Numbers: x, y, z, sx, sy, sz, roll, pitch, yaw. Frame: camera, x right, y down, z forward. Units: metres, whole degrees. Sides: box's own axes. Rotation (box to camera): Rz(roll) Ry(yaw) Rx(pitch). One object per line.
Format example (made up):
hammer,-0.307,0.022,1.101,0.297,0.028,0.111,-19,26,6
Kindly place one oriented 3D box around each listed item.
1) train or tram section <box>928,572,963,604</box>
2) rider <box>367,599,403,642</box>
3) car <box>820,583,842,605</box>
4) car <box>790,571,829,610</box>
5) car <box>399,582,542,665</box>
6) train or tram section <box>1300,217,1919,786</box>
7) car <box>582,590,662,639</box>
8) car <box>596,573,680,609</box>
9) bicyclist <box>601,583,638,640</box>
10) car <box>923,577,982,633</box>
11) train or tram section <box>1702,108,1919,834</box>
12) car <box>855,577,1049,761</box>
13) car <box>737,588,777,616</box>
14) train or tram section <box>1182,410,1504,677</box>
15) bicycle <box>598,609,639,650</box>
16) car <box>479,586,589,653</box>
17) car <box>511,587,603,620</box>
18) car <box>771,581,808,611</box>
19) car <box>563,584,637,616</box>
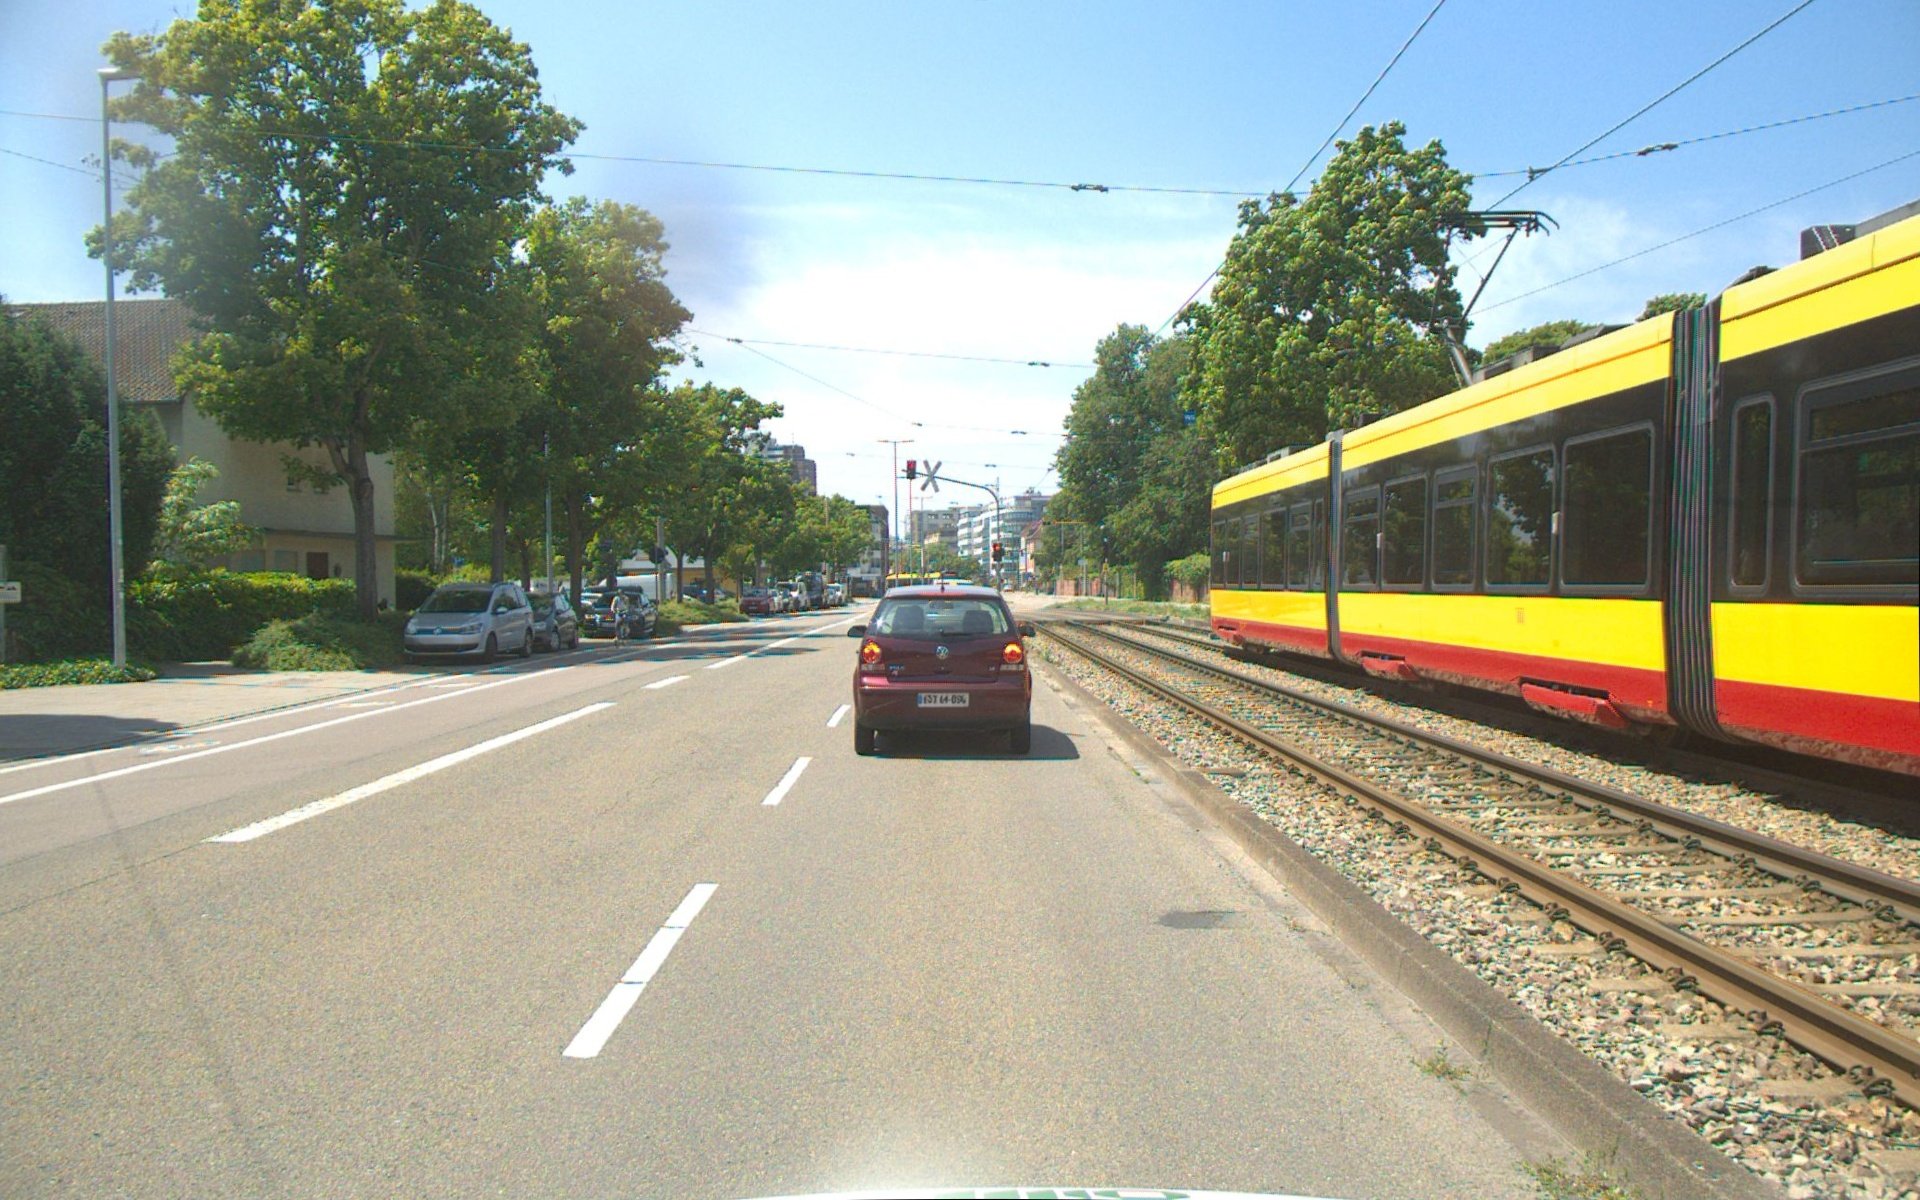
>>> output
train or tram section,-1.856,-1.525,200.099,2.689,3.672,12.849,1,1,-7
rider,-18.968,0.671,54.587,0.808,1.398,0.812,-1,0,7
car,-11.291,-0.500,144.706,1.741,1.860,3.995,1,0,-6
car,-11.000,-0.685,121.428,2.313,2.739,5.307,1,0,0
car,-10.803,0.459,36.838,1.835,1.693,4.780,0,1,-1
train or tram section,6.525,-0.752,17.861,2.966,3.864,13.089,-1,1,0
car,-10.953,0.440,53.846,1.782,1.502,4.448,1,1,-1
car,-20.994,-0.566,108.032,4.992,2.284,2.378,1,0,0
bicyclist,-9.090,0.294,44.130,0.720,1.455,1.124,-4,0,-4
car,-0.264,0.130,52.004,1.741,1.676,3.999,1,1,-2
train or tram section,6.586,-0.662,4.839,2.966,3.864,13.090,-1,1,0
car,-0.119,0.567,16.046,1.638,1.548,3.999,1,1,-2
car,-11.213,0.111,91.593,1.628,1.523,4.000,1,0,1
train or tram section,6.471,-0.897,30.654,2.966,3.864,12.760,-1,1,0
bicycle,-9.087,0.780,44.104,0.688,0.967,2.242,-3,1,-3
car,-10.839,0.455,42.399,1.781,1.592,4.180,1,1,-1
car,-21.111,0.192,86.793,4.251,1.612,1.914,-1,0,5
car,-11.132,-0.257,108.383,1.746,1.914,4.787,1,0,2
car,-21.187,-0.019,97.538,3.907,1.776,1.998,-2,0,-2
